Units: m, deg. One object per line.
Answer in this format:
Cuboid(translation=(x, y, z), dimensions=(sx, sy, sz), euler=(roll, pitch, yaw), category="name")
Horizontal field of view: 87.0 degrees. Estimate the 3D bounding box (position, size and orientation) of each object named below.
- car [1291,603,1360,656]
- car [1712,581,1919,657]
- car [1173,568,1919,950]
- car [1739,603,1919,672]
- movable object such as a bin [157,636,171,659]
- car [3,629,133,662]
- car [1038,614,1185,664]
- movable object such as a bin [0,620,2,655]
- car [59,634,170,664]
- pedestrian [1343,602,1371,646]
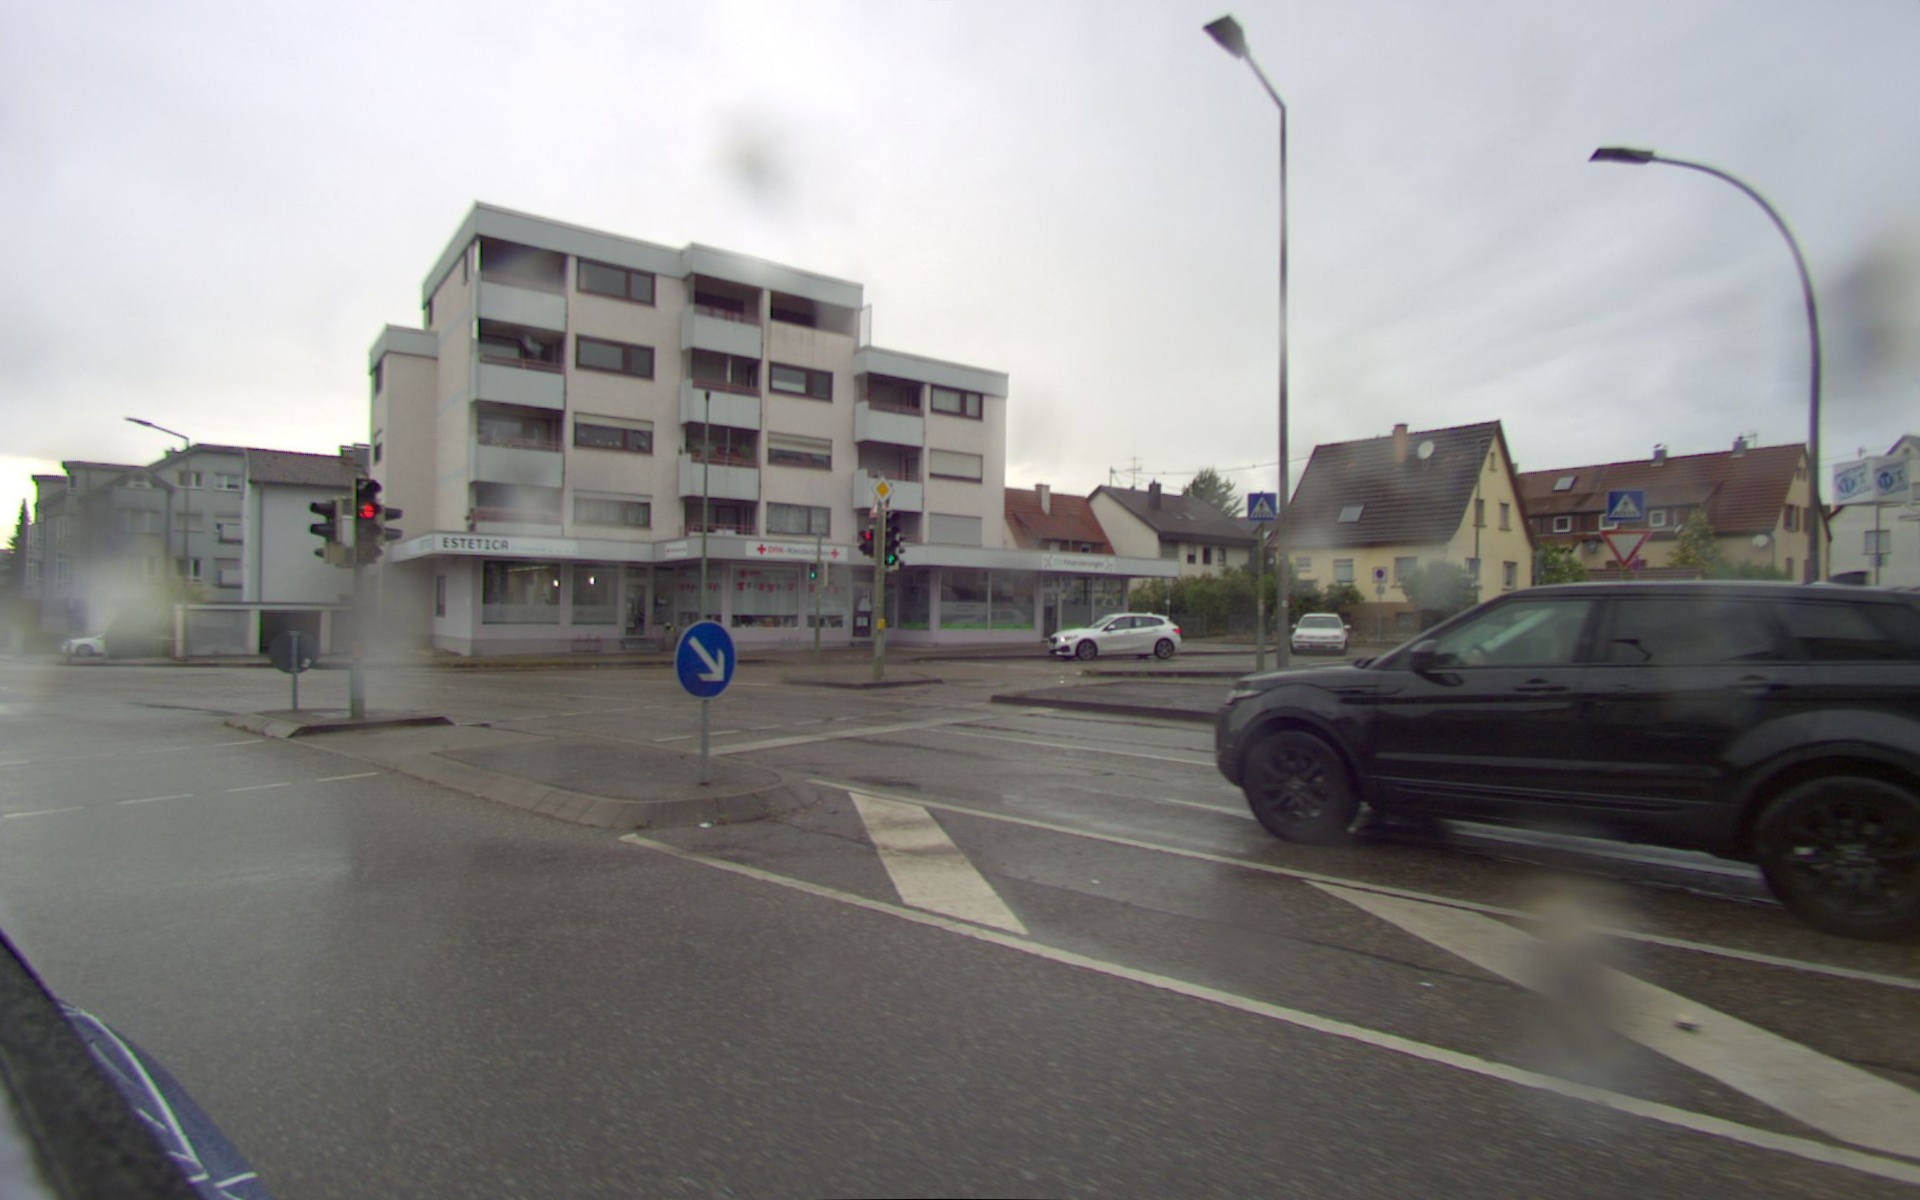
Cuboid(translation=(12.821, 0.991, 35.403), dimensions=(1.825, 1.746, 3.883), euler=(-1, -1, 26), category="car")
Cuboid(translation=(23.954, 0.507, 27.559), dimensions=(1.968, 1.856, 5.863), euler=(-1, -1, -8), category="car")
Cuboid(translation=(3.565, 0.686, 5.807), dimensions=(1.782, 1.569, 4.321), euler=(0, -1, -44), category="car")
Cuboid(translation=(21.531, 0.863, 24.584), dimensions=(1.971, 1.537, 4.001), euler=(-1, -1, -2), category="car")
Cuboid(translation=(-34.954, 2.080, 44.452), dimensions=(0.492, 0.968, 0.602), euler=(0, -2, -38), category="movable object such as a bin")
Cuboid(translation=(-50.973, 2.587, 58.009), dimensions=(5.390, 1.697, 2.153), euler=(0, -2, -36), category="car")
Cuboid(translation=(4.778, 1.212, 32.171), dimensions=(4.216, 1.445, 1.840), euler=(-1, -1, -14), category="car")
Cuboid(translation=(-78.269, 3.014, 80.343), dimensions=(2.878, 2.863, 2.203), euler=(0, -2, -33), category="movable object such as a bin")
Cuboid(translation=(-46.600, 2.657, 55.851), dimensions=(4.558, 1.508, 1.931), euler=(1, -2, -44), category="car")
Cuboid(translation=(17.133, 1.051, 43.702), dimensions=(0.713, 1.872, 0.851), euler=(0, -1, -36), category="pedestrian")
